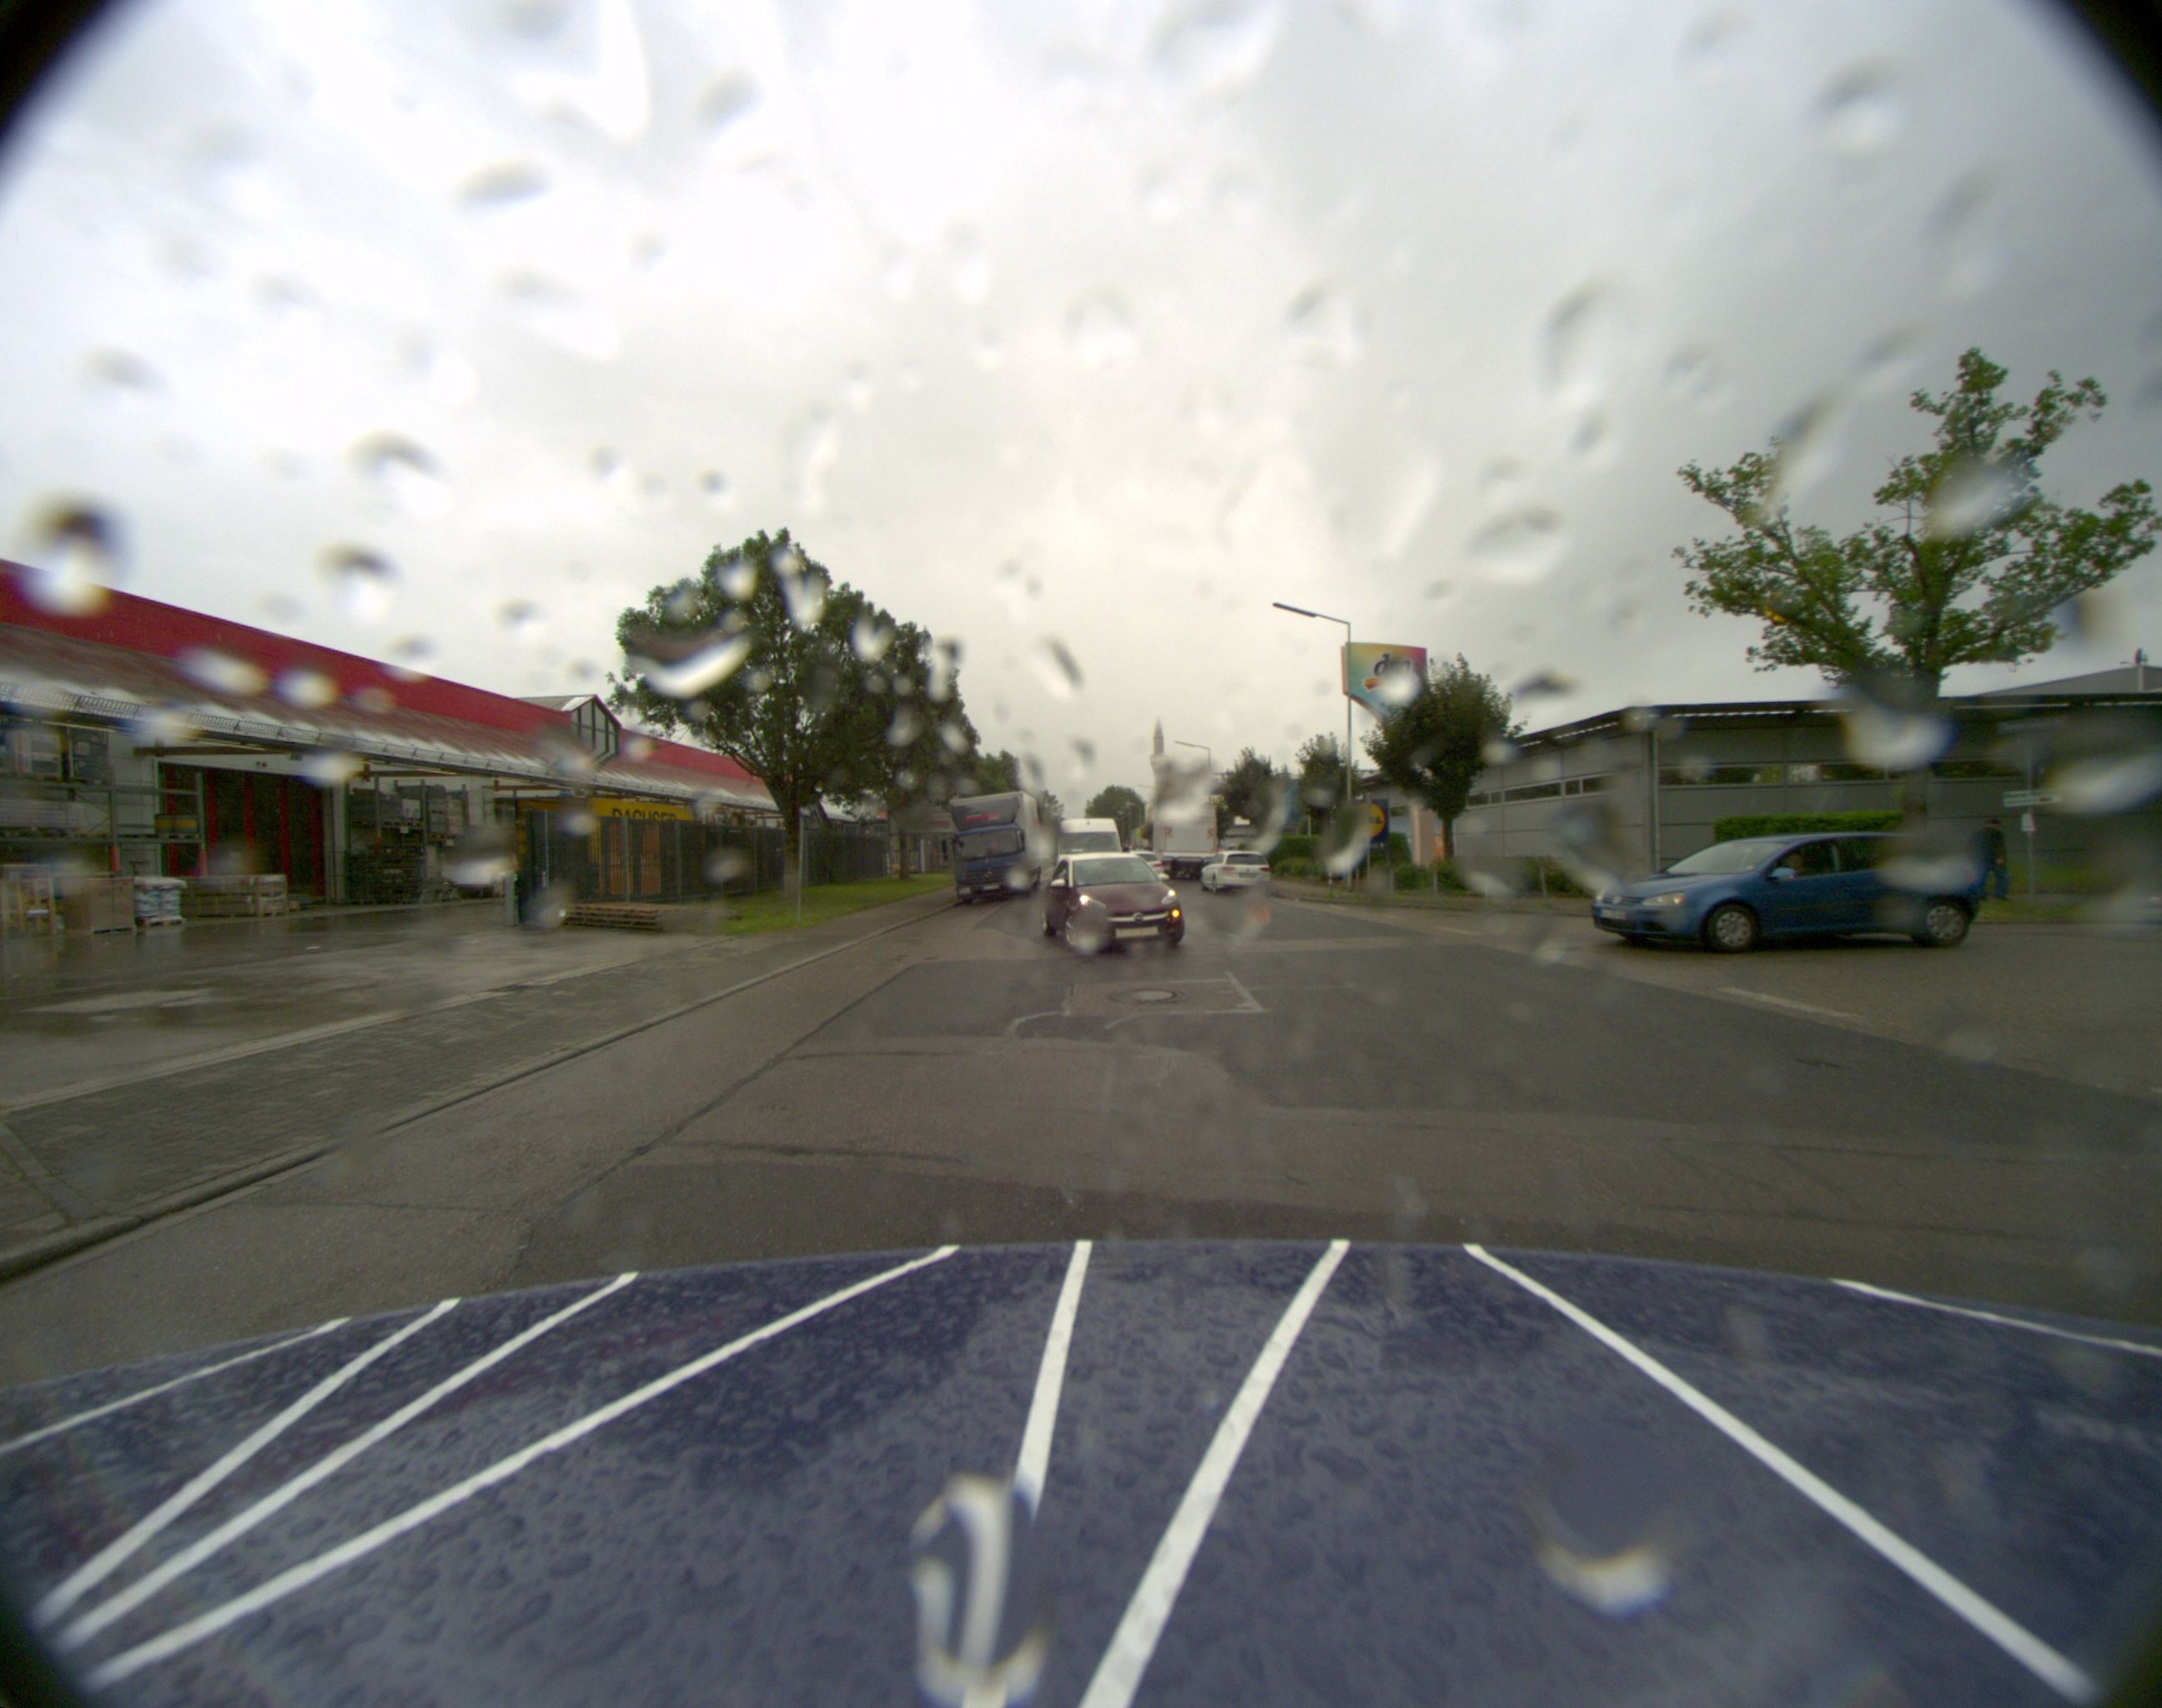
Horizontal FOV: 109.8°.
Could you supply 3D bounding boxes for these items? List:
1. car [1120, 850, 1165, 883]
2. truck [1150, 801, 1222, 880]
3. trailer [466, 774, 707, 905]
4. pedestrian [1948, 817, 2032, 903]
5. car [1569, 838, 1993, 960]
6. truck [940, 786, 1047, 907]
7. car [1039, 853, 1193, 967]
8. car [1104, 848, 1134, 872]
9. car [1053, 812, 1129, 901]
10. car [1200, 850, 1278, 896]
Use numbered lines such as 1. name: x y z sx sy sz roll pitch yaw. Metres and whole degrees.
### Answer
1. car: 2.752 0.540 34.706 1.735 1.432 3.999 -1 0 0
2. truck: 5.416 -0.674 40.541 2.888 3.724 7.867 -1 1 2
3. trailer: -18.447 -0.509 29.486 2.974 4.218 9.470 -1 1 0
4. pedestrian: 18.262 0.120 15.285 0.782 1.664 0.758 -1 1 -2
5. car: 9.009 0.543 10.044 3.997 1.432 1.736 -1 0 0
6. truck: -2.967 -0.272 28.204 2.678 3.671 8.008 -4 1 1
7. car: 0.397 0.751 12.144 1.638 1.447 3.574 -3 1 -10
8. car: 2.413 0.361 49.259 1.735 1.432 4.000 -1 0 0
9. car: 0.335 0.050 24.149 2.085 2.466 5.346 -1 1 1
10. car: 5.318 0.600 26.186 1.840 1.426 4.491 0 1 1
